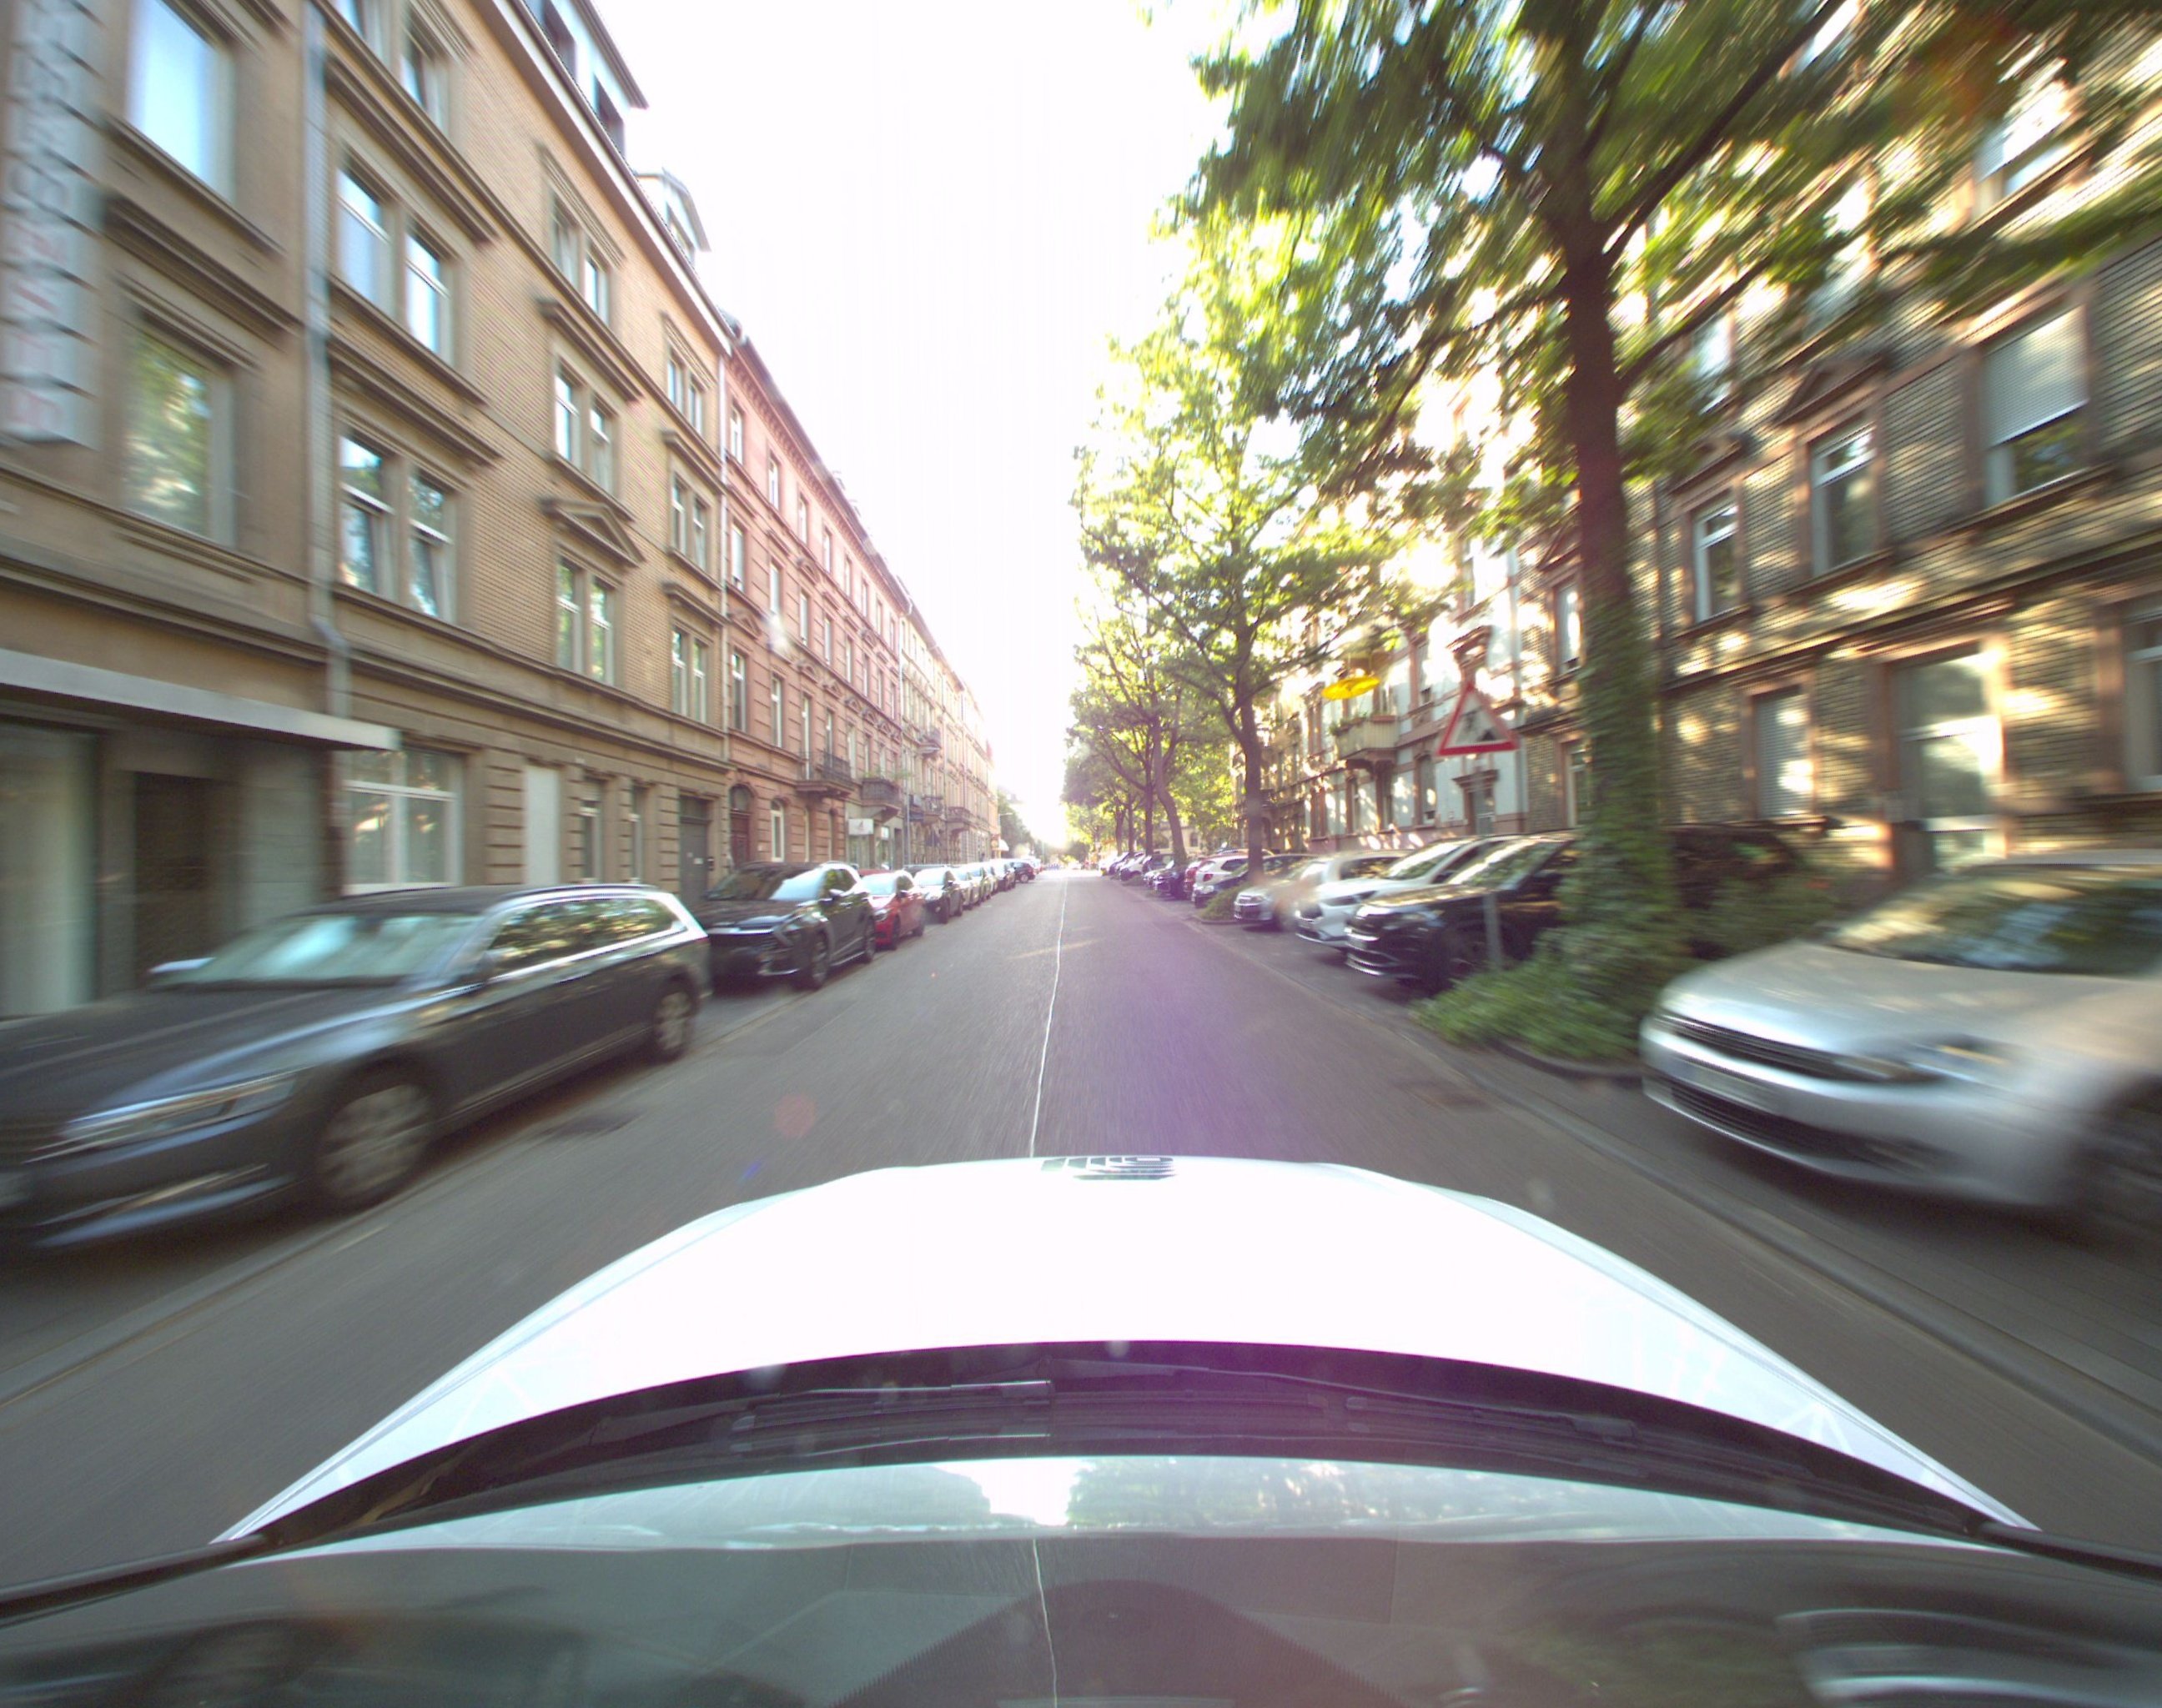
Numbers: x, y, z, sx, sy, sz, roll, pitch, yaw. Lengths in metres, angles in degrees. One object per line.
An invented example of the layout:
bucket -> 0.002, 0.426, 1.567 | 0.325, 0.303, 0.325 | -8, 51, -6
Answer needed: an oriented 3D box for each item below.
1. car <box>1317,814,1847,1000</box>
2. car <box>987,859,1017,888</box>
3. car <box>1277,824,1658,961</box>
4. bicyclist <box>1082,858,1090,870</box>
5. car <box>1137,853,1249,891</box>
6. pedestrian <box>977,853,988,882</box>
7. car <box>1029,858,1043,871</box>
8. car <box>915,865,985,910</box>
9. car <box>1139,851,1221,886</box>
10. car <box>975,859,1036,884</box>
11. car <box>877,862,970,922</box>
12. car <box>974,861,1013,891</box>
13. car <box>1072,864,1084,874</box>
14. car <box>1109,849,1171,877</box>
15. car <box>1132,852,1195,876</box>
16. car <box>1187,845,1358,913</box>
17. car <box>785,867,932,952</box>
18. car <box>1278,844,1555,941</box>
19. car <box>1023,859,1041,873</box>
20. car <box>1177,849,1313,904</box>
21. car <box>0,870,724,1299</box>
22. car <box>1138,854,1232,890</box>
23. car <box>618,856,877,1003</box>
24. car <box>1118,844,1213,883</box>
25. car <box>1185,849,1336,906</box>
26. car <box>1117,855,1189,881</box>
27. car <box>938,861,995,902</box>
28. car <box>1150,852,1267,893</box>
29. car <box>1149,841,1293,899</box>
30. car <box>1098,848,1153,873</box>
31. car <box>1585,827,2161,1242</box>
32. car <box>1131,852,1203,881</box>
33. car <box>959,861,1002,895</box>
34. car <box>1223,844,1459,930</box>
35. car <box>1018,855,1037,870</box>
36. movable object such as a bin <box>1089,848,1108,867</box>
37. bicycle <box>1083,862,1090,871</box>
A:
car -> 5.041, 0.530, 8.711 | 4.460, 1.656, 1.891 | -1, -2, 0
car -> -4.607, 1.085, 47.543 | 1.645, 1.574, 4.042 | 1, 0, -5
car -> 5.254, 0.519, 11.492 | 4.465, 1.656, 1.889 | -1, -2, -3
bicyclist -> 0.587, 1.130, 91.980 | 0.801, 1.383, 0.984 | 0, -1, -2
car -> 4.993, 0.780, 36.583 | 4.651, 1.503, 1.929 | -2, 0, -5
pedestrian -> -6.491, 0.870, 53.452 | 0.638, 1.887, 0.590 | -2, 0, -11
car -> -5.413, 1.289, 98.762 | 1.666, 1.530, 3.995 | -1, -1, -3
car -> -4.379, 1.086, 27.784 | 1.700, 1.323, 4.099 | -2, 0, -1
car -> 5.021, 0.736, 41.544 | 3.879, 1.649, 1.721 | -2, 0, -6
car -> -5.077, 1.148, 54.901 | 3.983, 1.529, 1.821 | -2, 0, -7
car -> -4.307, 0.985, 22.911 | 1.816, 1.477, 4.421 | 0, 0, -1
car -> -4.542, 1.102, 42.671 | 1.643, 1.473, 3.998 | 1, 0, -1
car -> -0.488, 2.391, 129.363 | 1.744, 1.509, 3.998 | -2, 0, -1
car -> 4.572, 0.668, 63.601 | 4.605, 2.013, 1.997 | -2, 0, -4
car -> 5.638, 0.689, 55.850 | 4.069, 1.497, 1.843 | -2, 0, -1
car -> 4.900, 0.617, 21.213 | 3.977, 1.388, 1.676 | -4, 0, -2
car -> -4.279, 0.996, 16.366 | 1.816, 1.426, 4.311 | 0, 0, -1
car -> 5.688, 0.623, 14.185 | 4.087, 1.469, 1.801 | -1, 0, 0
car -> -5.342, 1.270, 88.433 | 1.720, 1.437, 3.994 | 0, 0, 0
car -> 5.275, 0.697, 26.528 | 3.980, 1.590, 1.780 | -2, 0, -5
car -> -4.235, 0.904, 5.223 | 1.856, 1.472, 4.488 | -2, 0, 0
car -> 4.901, 0.834, 38.680 | 4.100, 1.503, 1.807 | -2, 0, -6
car -> -4.211, 0.837, 11.130 | 1.816, 1.600, 4.311 | 0, 0, -1
car -> 4.714, 0.558, 46.178 | 5.077, 1.940, 2.157 | -2, -4, -1
car -> 5.210, 0.654, 23.931 | 3.980, 1.462, 1.780 | -2, 0, -5
car -> 4.568, 0.868, 51.929 | 4.356, 1.455, 1.933 | -2, 0, -1
car -> -4.483, 1.041, 32.460 | 1.700, 1.439, 3.957 | -2, 0, -1
car -> 5.203, 0.745, 33.793 | 4.537, 1.529, 2.000 | -2, 0, 0
car -> 4.886, 0.535, 28.823 | 4.637, 1.702, 1.879 | -3, 0, -5
car -> 4.121, 0.607, 76.465 | 4.959, 2.096, 2.104 | -2, 0, -1
car -> 4.857, 0.609, 3.796 | 3.974, 1.456, 1.687 | -2, 0, -1
car -> 5.203, 0.750, 49.641 | 3.986, 1.474, 1.776 | -3, 0, -9
car -> -4.680, 1.096, 38.476 | 1.577, 1.473, 3.998 | -2, 0, -1
car -> 5.205, 0.630, 16.610 | 4.214, 1.536, 1.798 | -1, 0, -4
car -> -5.438, 0.832, 83.216 | 1.760, 1.437, 4.297 | -1, 0, -2
movable object such as a bin -> 2.520, 0.547, 116.606 | 1.980, 2.699, 3.120 | -1, -1, 12
bicycle -> 0.625, 1.401, 92.028 | 0.801, 0.968, 2.107 | 0, -1, -1
